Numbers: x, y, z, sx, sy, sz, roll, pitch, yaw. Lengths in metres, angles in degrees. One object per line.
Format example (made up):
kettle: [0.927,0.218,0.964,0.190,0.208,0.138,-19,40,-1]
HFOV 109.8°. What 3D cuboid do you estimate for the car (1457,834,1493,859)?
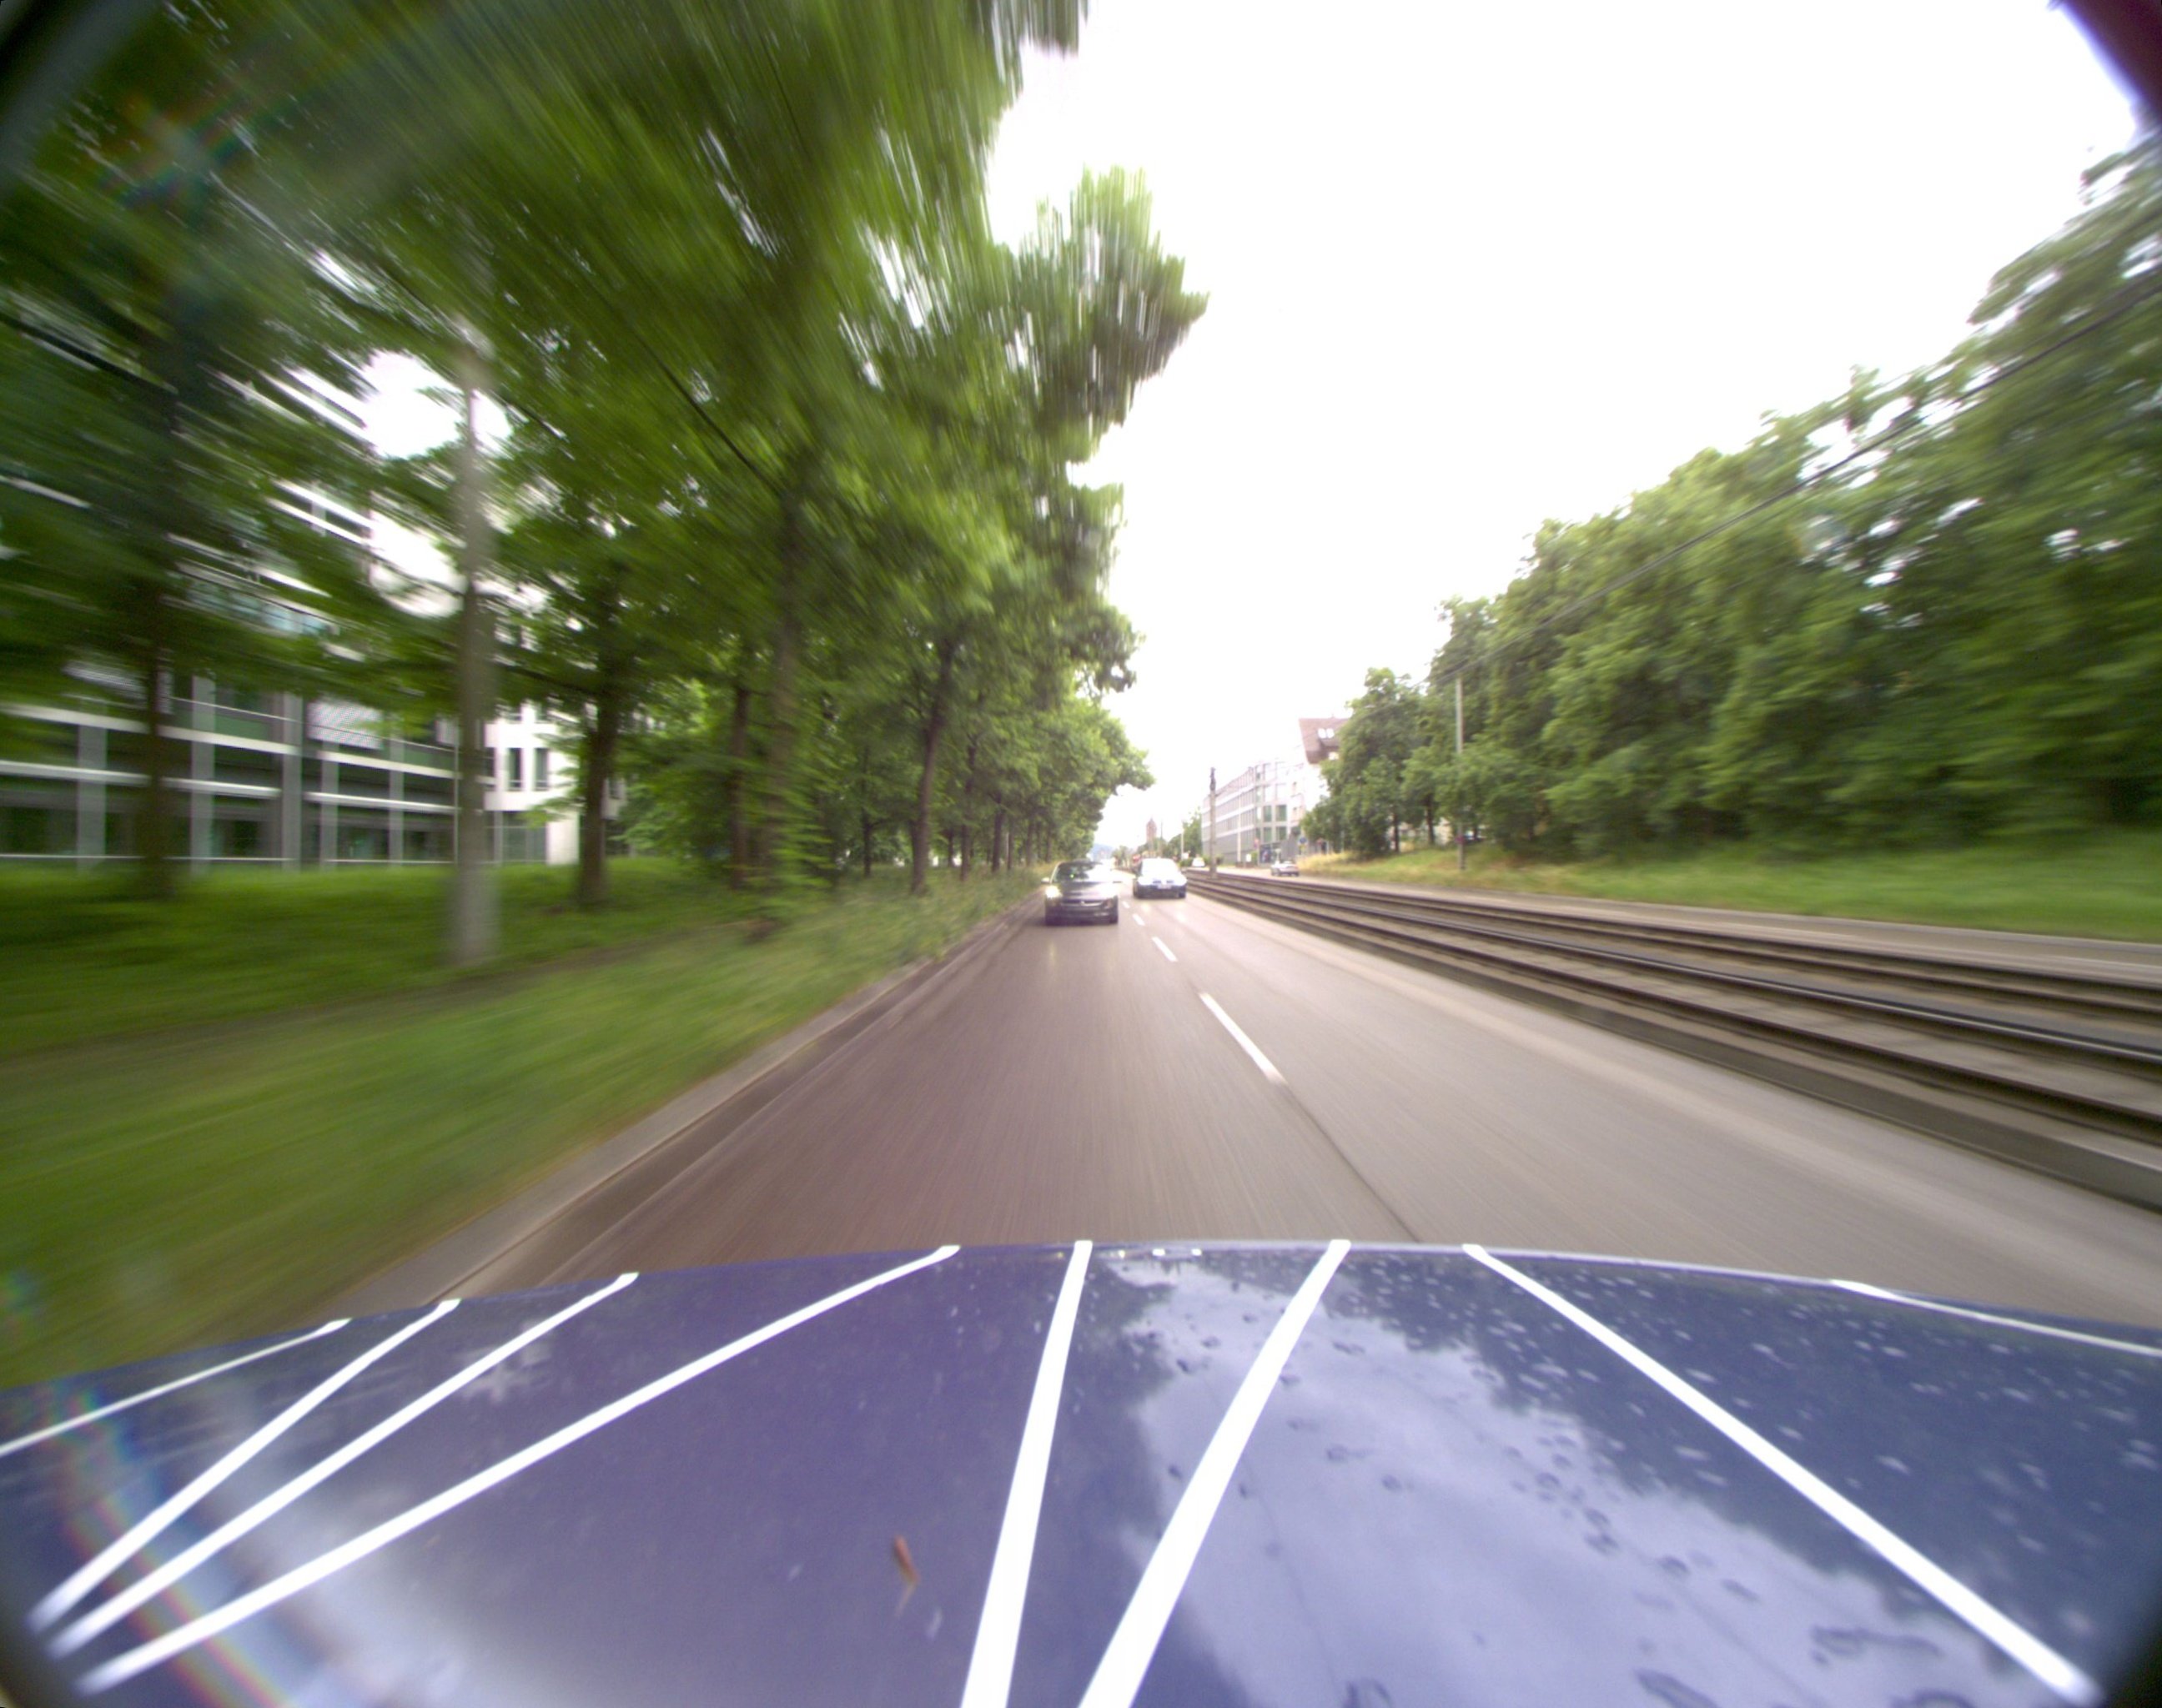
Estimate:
car: [32.863,-0.629,63.493,1.963,2.002,4.222,0,0,17]

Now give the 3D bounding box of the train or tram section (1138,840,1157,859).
train or tram section: [14.577,-0.831,168.039,2.975,3.788,19.522,-1,0,1]

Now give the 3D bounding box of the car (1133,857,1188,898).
car: [2.988,0.844,29.170,1.770,1.439,3.833,-1,0,1]

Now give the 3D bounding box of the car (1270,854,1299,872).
car: [17.324,0.727,64.850,1.480,1.427,3.909,1,0,1]

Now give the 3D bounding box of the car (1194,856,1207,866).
car: [20.358,1.173,129.331,1.657,1.520,4.381,0,0,1]

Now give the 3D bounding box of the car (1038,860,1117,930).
car: [-0.008,0.939,19.091,1.698,1.439,4.420,-2,0,2]
